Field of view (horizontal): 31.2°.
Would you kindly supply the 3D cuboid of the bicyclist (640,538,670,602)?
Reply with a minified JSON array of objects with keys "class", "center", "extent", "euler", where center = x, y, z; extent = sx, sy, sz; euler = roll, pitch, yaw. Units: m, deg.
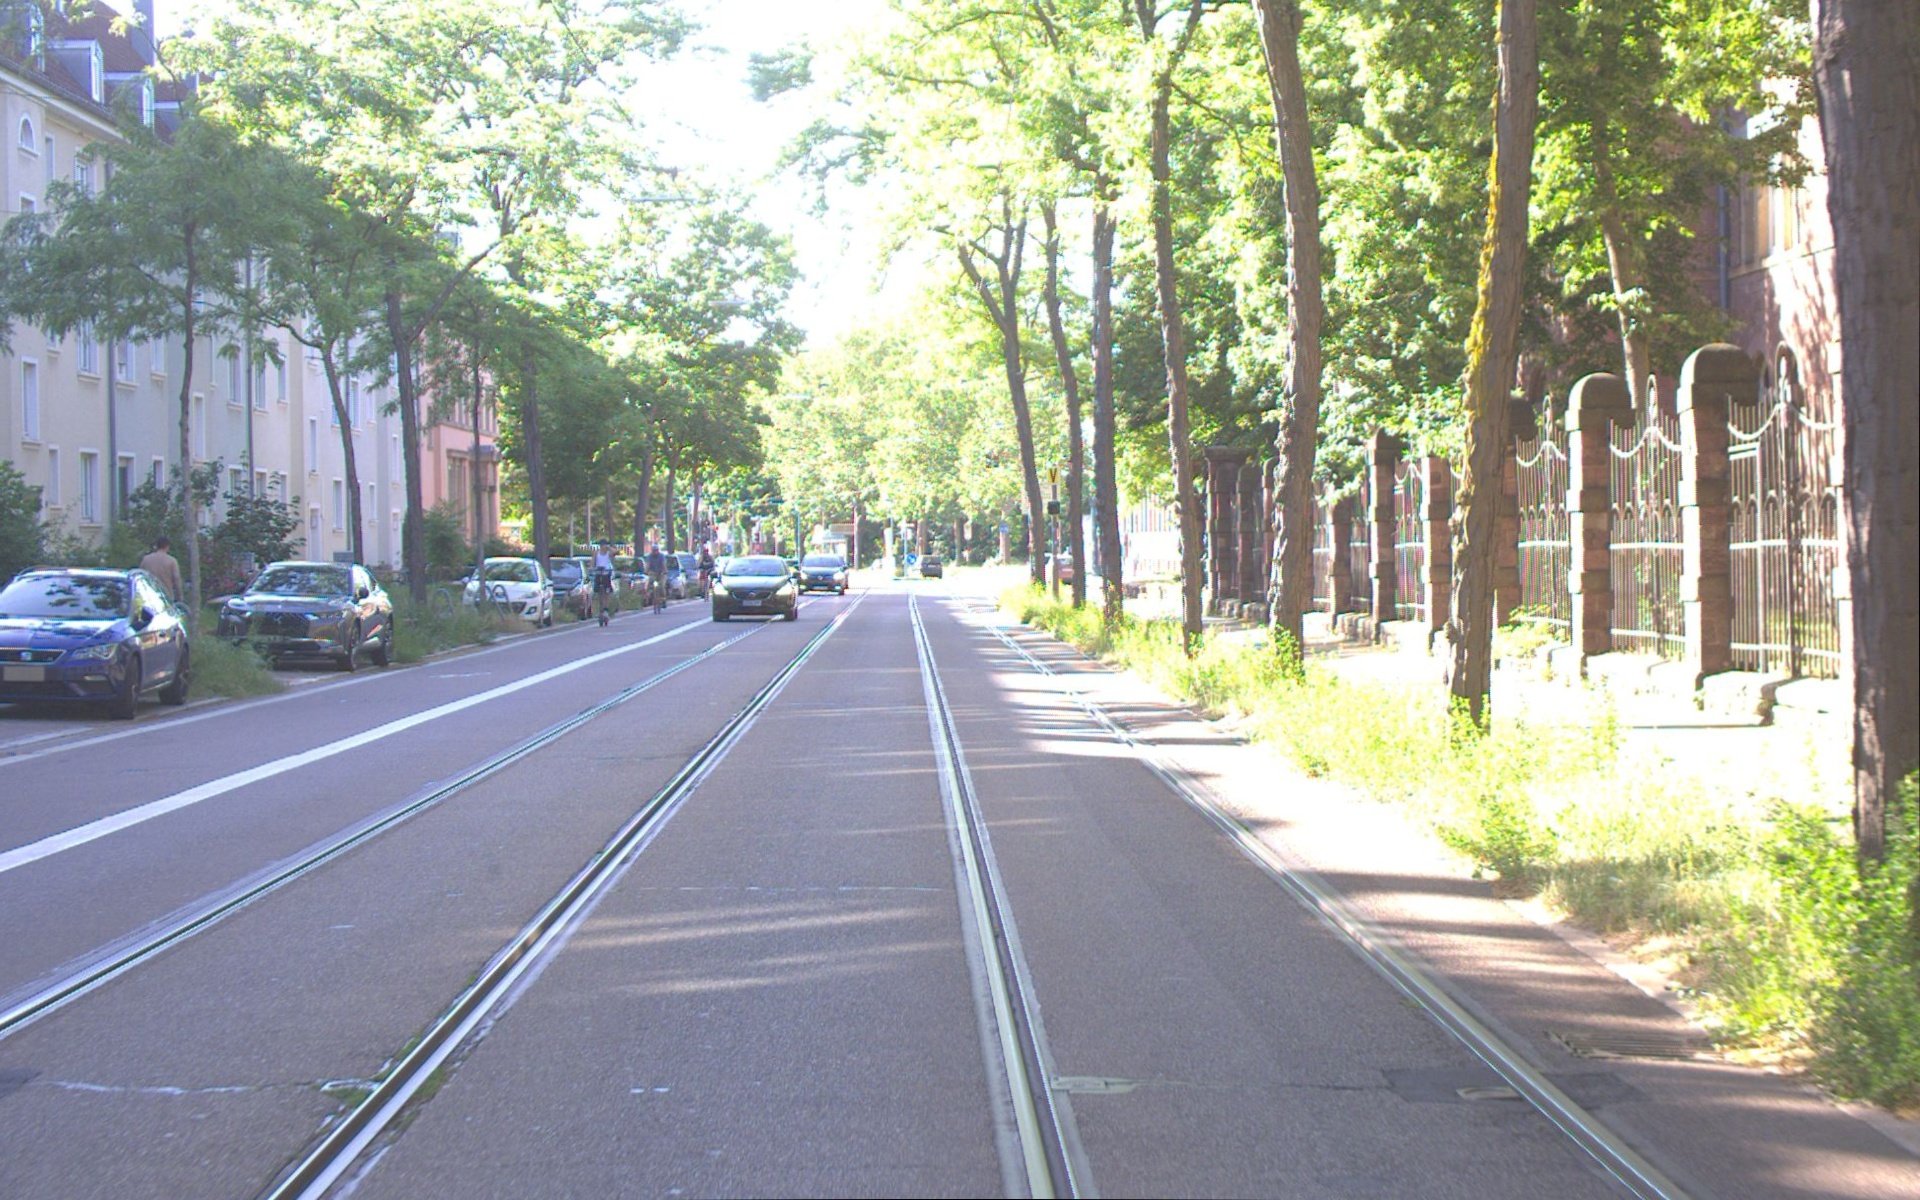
[{"class":"bicyclist","center":[-7.949,-0.785,89.571],"extent":[0.626,1.633,0.940],"euler":[-3,1,-1]}]

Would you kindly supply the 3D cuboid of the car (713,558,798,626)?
[{"class":"car","center":[-4.499,-0.192,76.090],"extent":[1.757,1.434,4.524],"euler":[0,1,-2]}]

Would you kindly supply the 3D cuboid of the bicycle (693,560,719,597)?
[{"class":"bicycle","center":[-8.409,-0.723,113.869],"extent":[0.694,1.173,1.913],"euler":[-3,1,-1]}]

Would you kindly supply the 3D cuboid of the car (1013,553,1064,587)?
[{"class":"car","center":[3.753,-1.455,165.607],"extent":[1.942,1.605,4.001],"euler":[0,1,-6]}]

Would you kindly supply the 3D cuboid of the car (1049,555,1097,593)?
[{"class":"car","center":[5.045,-1.161,153.689],"extent":[1.839,1.649,3.580],"euler":[0,1,-3]}]

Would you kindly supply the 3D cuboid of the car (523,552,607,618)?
[{"class":"car","center":[-9.507,-0.380,82.949],"extent":[1.687,1.480,3.760],"euler":[2,1,-2]}]

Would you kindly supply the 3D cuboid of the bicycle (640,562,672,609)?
[{"class":"bicycle","center":[-7.927,-0.392,89.604],"extent":[0.626,1.173,1.913],"euler":[-3,1,-1]}]

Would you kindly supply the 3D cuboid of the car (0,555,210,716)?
[{"class":"car","center":[-8.972,0.309,35.190],"extent":[1.757,1.506,4.439],"euler":[1,1,-2]}]

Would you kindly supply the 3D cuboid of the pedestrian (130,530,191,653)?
[{"class":"pedestrian","center":[-11.793,-0.130,50.750],"extent":[0.691,1.795,0.813],"euler":[-1,1,-1]}]

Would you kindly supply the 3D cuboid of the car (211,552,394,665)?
[{"class":"car","center":[-9.146,0.085,48.134],"extent":[1.817,1.480,4.206],"euler":[1,1,-1]}]

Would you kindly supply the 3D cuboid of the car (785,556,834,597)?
[{"class":"car","center":[-5.391,-0.858,123.429],"extent":[1.699,1.434,4.072],"euler":[0,1,-2]}]

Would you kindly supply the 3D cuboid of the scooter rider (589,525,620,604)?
[{"class":"scooter rider","center":[-7.822,-0.780,75.662],"extent":[0.496,1.694,0.787],"euler":[-4,1,-1]}]

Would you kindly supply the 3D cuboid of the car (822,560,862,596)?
[{"class":"car","center":[-5.010,-0.950,145.851],"extent":[1.699,1.466,4.072],"euler":[0,1,-2]}]

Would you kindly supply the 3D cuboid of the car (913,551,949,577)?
[{"class":"car","center":[-1.862,-2.287,219.090],"extent":[1.942,1.605,4.001],"euler":[0,1,-6]}]

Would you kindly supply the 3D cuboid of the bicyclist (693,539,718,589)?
[{"class":"bicyclist","center":[-8.428,-1.195,113.806],"extent":[0.709,1.601,0.865],"euler":[-3,1,-1]}]

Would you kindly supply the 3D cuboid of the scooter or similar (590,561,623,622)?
[{"class":"scooter or similar","center":[-7.779,-0.189,75.705],"extent":[0.520,1.293,1.377],"euler":[-4,1,-1]}]

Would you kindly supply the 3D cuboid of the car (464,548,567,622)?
[{"class":"car","center":[-9.575,-0.350,74.298],"extent":[1.702,1.480,4.079],"euler":[2,1,-1]}]
